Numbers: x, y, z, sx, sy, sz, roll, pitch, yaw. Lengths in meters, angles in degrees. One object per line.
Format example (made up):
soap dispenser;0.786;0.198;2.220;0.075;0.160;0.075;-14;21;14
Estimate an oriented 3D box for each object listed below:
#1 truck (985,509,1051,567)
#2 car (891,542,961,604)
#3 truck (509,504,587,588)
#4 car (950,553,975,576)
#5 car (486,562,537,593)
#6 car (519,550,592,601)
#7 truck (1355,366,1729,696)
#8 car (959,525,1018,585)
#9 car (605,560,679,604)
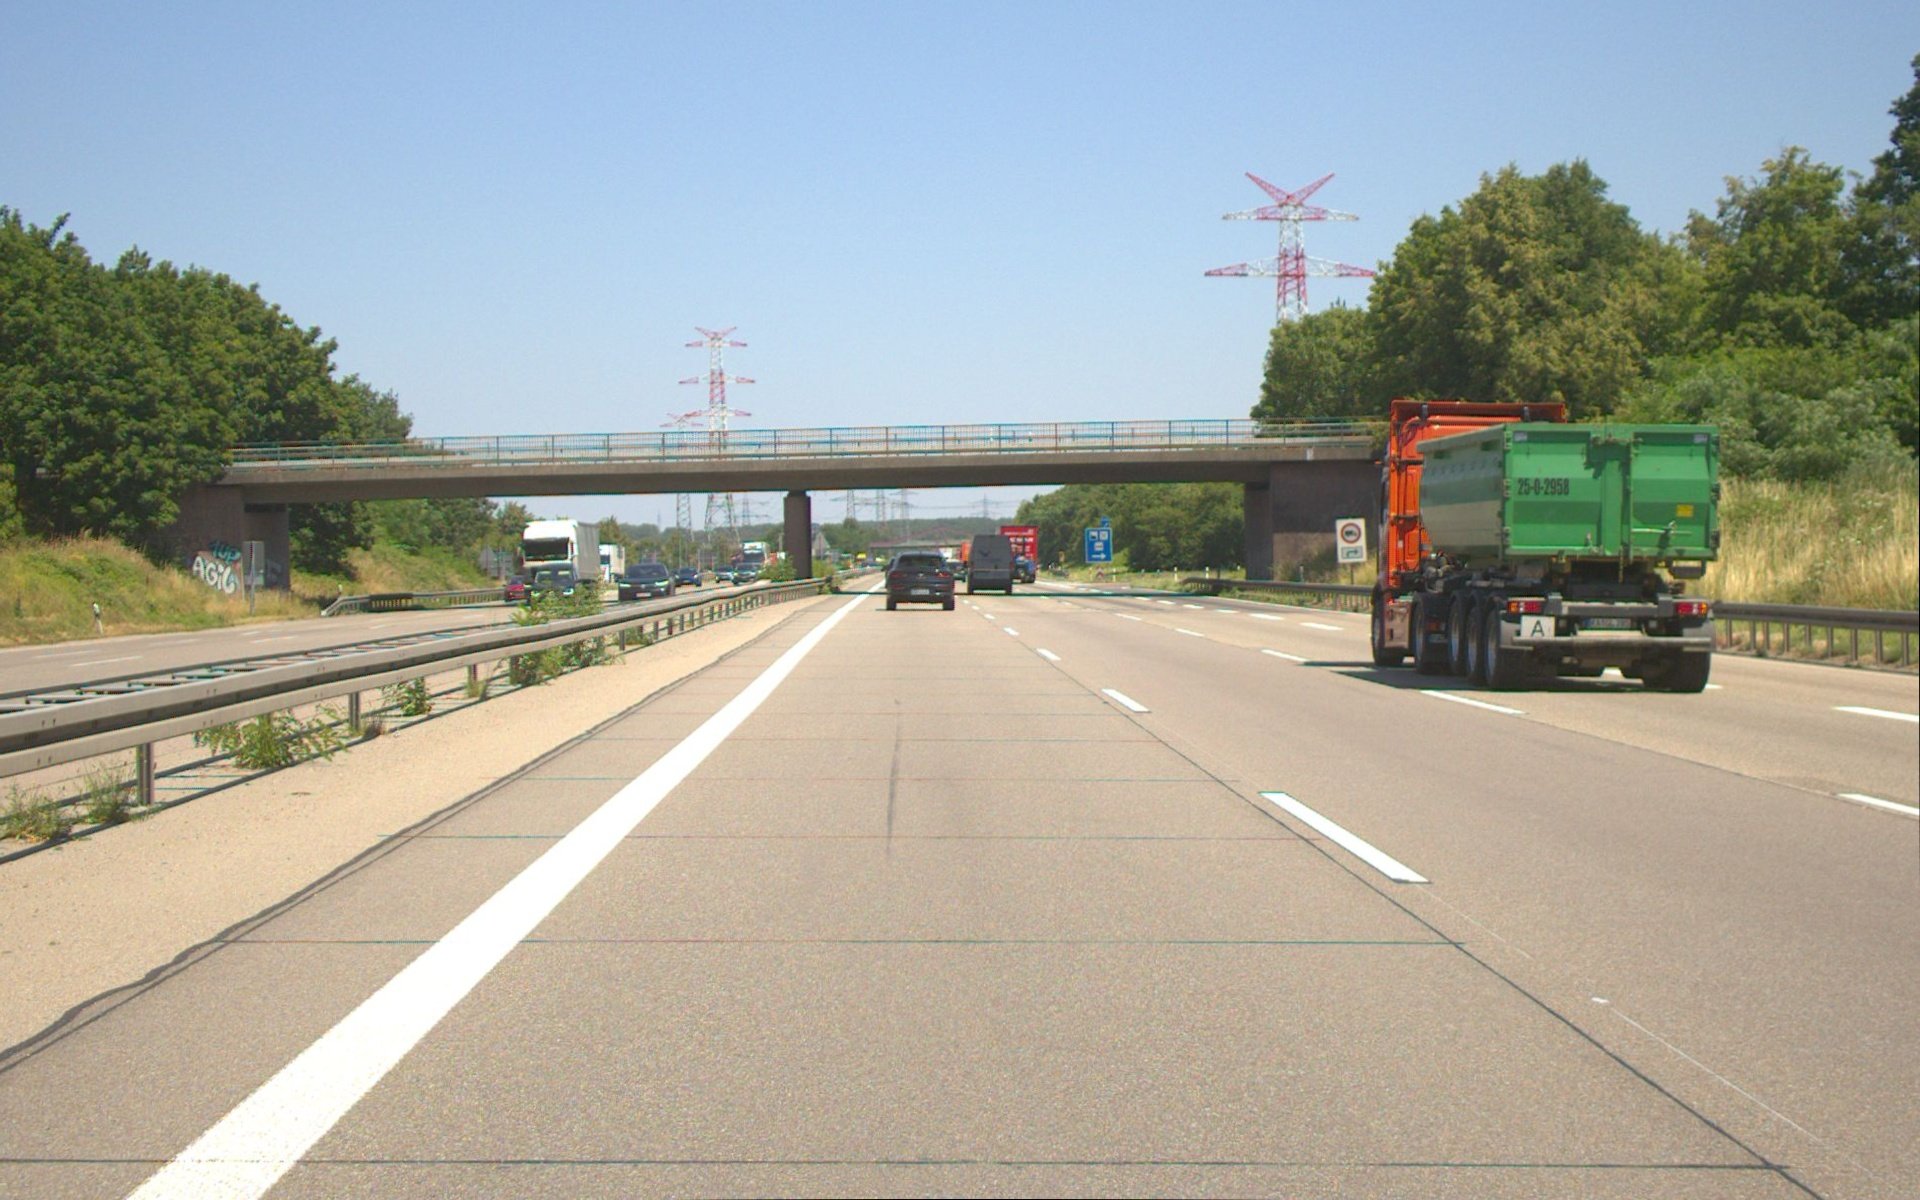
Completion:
truck;4.113;-4.450;247.472;4.331;3.928;16.078;1;1;0
car;-1.005;-0.805;100.969;1.993;1.744;4.000;1;1;-1
truck;-20.487;-2.682;171.142;2.949;3.946;6.953;-3;1;-1
car;0.191;-2.593;252.284;1.747;1.628;4.004;1;1;-1
car;-24.747;-1.250;189.841;2.227;1.605;4.788;-3;1;-1
car;-15.574;-0.957;132.550;2.227;1.806;5.300;-3;1;-1
truck;7.448;-0.891;46.015;2.681;3.785;12.479;1;1;-1
car;1.329;-2.121;162.087;2.621;2.749;6.096;1;1;-1
car;-11.409;-0.672;123.653;2.227;1.419;5.300;-3;1;-1
